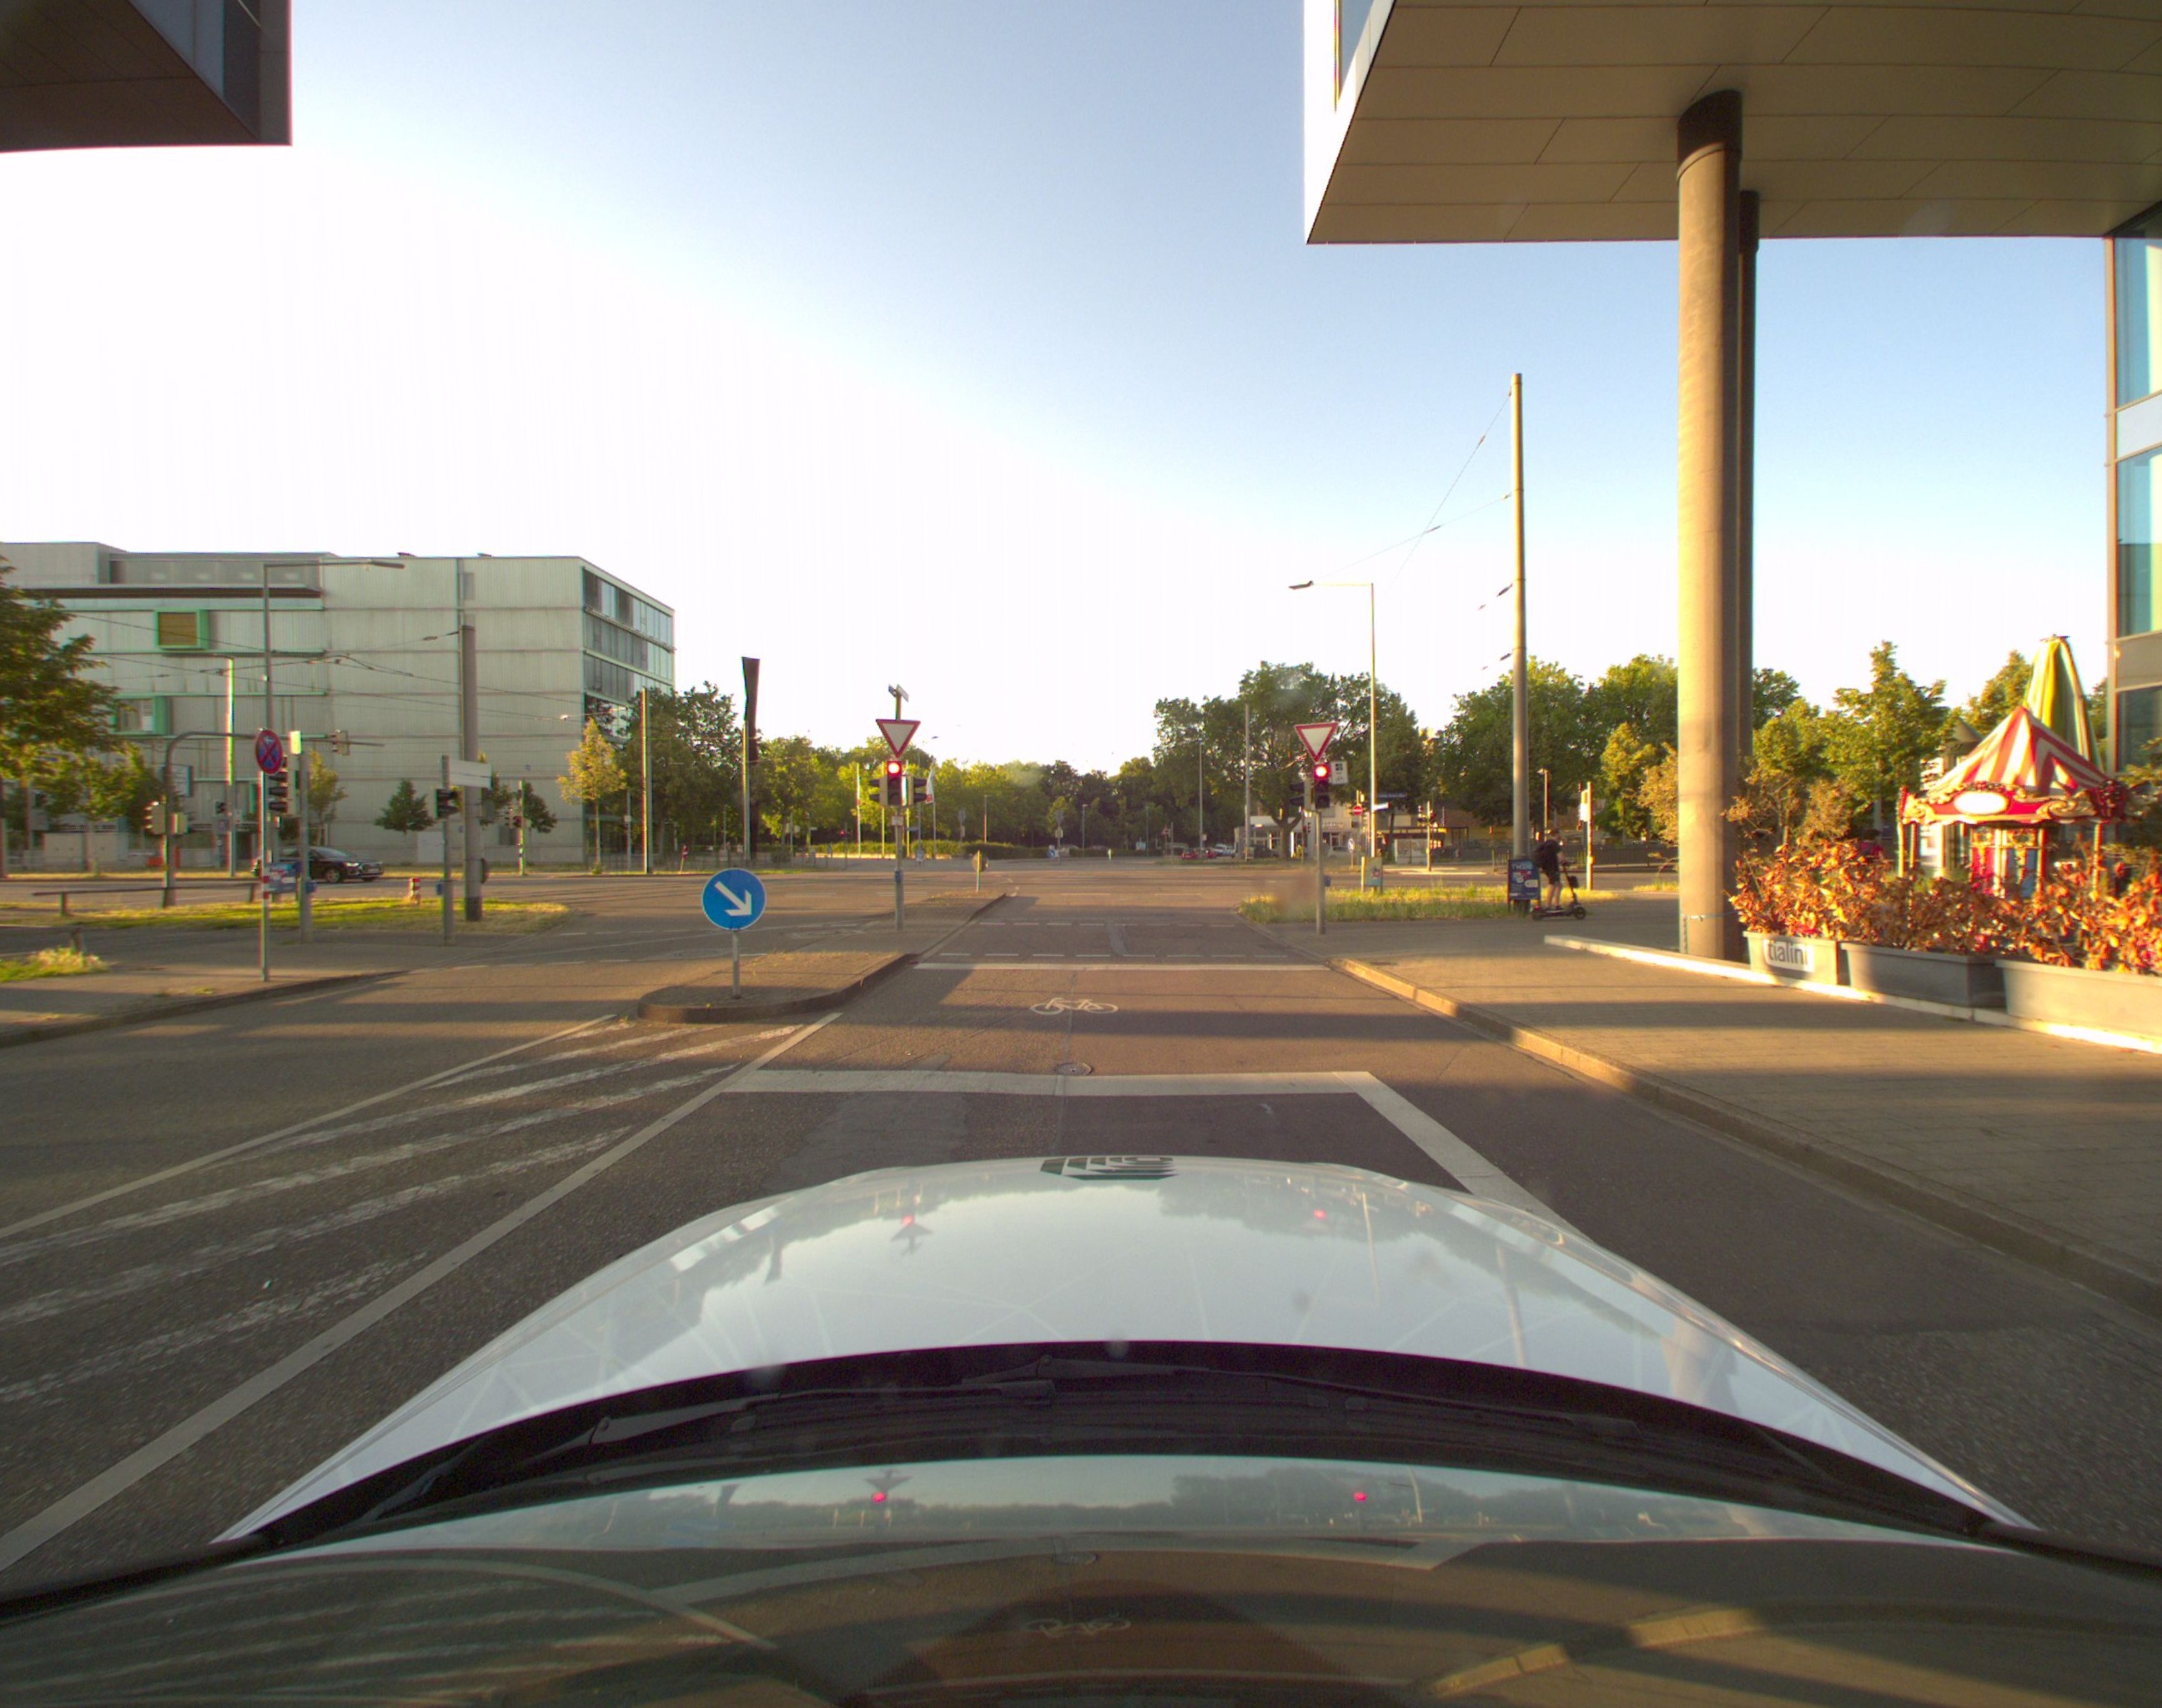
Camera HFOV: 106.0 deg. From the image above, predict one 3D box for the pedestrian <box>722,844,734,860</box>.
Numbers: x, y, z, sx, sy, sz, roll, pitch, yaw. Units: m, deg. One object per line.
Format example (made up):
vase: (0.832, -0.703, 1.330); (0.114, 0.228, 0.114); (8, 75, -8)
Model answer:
pedestrian: (-39.804, -0.225, 91.851); (0.852, 1.744, 0.834); (0, 0, 21)

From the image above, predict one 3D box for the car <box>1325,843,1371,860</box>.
car: (23.798, -0.181, 72.713); (3.715, 1.440, 1.669); (-1, -1, 11)

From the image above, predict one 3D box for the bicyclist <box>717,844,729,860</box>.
bicyclist: (-37.928, -0.214, 86.372); (0.908, 1.709, 0.758); (0, 0, 32)

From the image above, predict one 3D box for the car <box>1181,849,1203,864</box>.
car: (13.188, 0.285, 96.444); (1.978, 1.662, 4.018); (-1, -1, 17)

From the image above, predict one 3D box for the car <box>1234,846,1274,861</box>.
car: (19.005, -0.045, 89.782); (4.194, 1.552, 2.005); (-1, -1, 9)

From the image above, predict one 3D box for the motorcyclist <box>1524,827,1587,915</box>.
motorcyclist: (9.668, 0.339, 16.613); (0.898, 1.746, 0.675); (-1, 0, -4)

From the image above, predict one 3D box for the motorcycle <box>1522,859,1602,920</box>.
motorcycle: (9.779, 0.714, 16.574); (1.308, 1.188, 0.566); (-1, 0, -4)

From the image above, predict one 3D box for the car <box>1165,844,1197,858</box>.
car: (15.518, -0.477, 126.613); (4.753, 2.006, 2.002); (-1, -1, 3)

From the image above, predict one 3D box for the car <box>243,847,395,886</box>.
car: (-32.457, 0.519, 34.805); (4.467, 1.557, 1.986); (-1, 0, -4)

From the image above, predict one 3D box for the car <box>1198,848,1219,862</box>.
car: (16.296, 0.118, 104.063); (1.978, 1.662, 4.018); (-1, -1, 17)

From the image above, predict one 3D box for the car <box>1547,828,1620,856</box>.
car: (48.015, -1.114, 77.916); (5.561, 2.551, 2.235); (0, 0, 9)

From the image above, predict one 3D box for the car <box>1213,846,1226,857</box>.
car: (22.374, -0.380, 131.759); (1.850, 1.794, 4.013); (-1, -1, 12)

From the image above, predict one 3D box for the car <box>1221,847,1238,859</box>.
car: (21.183, -0.104, 116.180); (1.978, 1.662, 4.018); (-1, -1, 17)

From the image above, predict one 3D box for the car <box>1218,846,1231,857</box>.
car: (24.040, -0.391, 136.616); (1.849, 1.794, 4.015); (-1, -1, 14)

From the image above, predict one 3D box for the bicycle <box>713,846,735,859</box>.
bicycle: (-37.889, -0.154, 86.413); (2.656, 1.341, 0.737); (0, 0, 29)

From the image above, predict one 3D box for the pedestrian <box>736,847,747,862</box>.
pedestrian: (-38.922, 0.029, 93.298); (0.852, 1.744, 0.835); (0, 0, 34)
